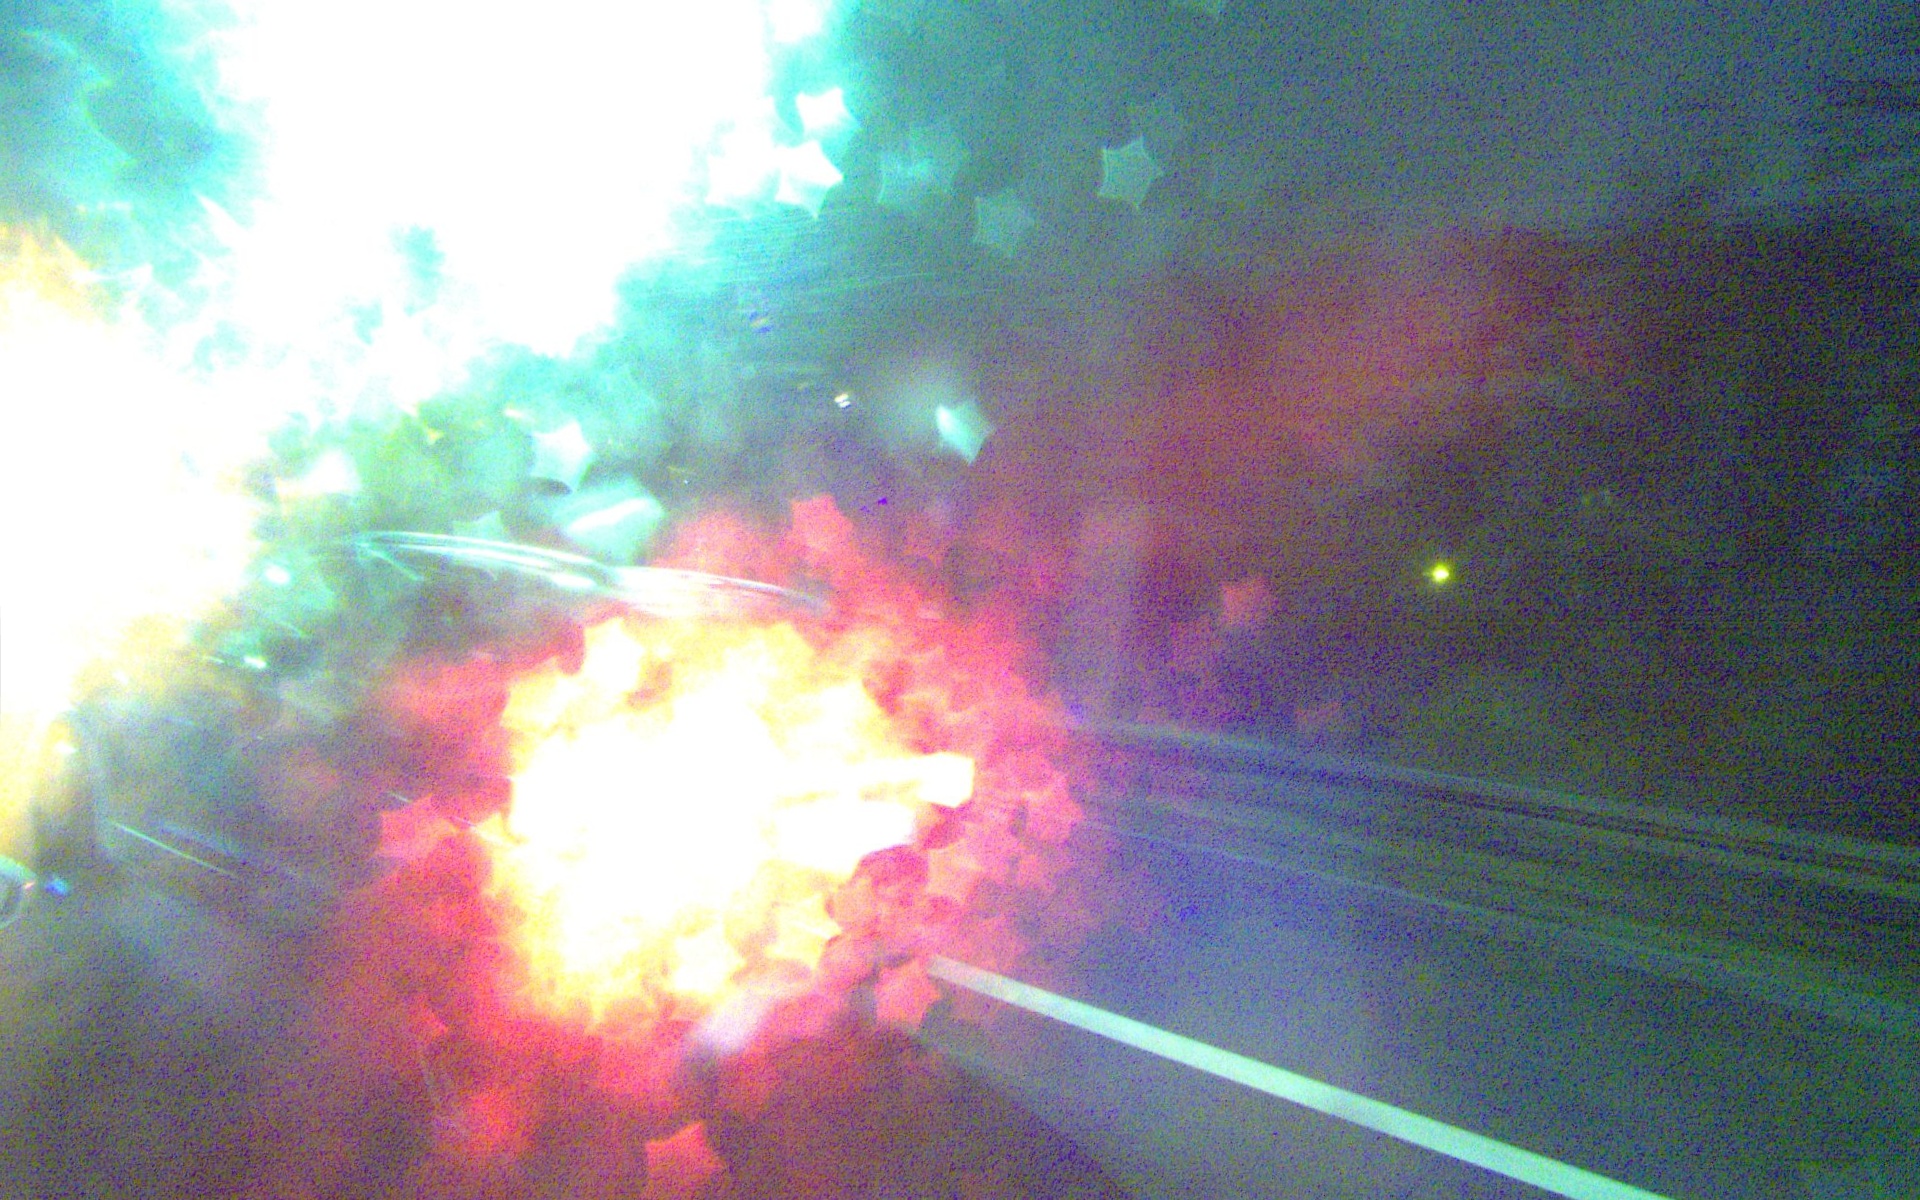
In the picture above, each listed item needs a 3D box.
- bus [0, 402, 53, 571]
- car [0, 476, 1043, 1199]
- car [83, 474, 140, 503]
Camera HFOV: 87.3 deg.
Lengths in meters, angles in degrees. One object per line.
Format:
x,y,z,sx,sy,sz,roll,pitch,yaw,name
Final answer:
-22.873,-2.719,22.299,8.926,3.251,3.039,6,-1,42,bus
-1.947,0.534,4.034,3.934,1.542,1.997,7,-1,32,car
-59.312,-7.785,70.387,1.758,1.520,3.978,8,0,-22,car
